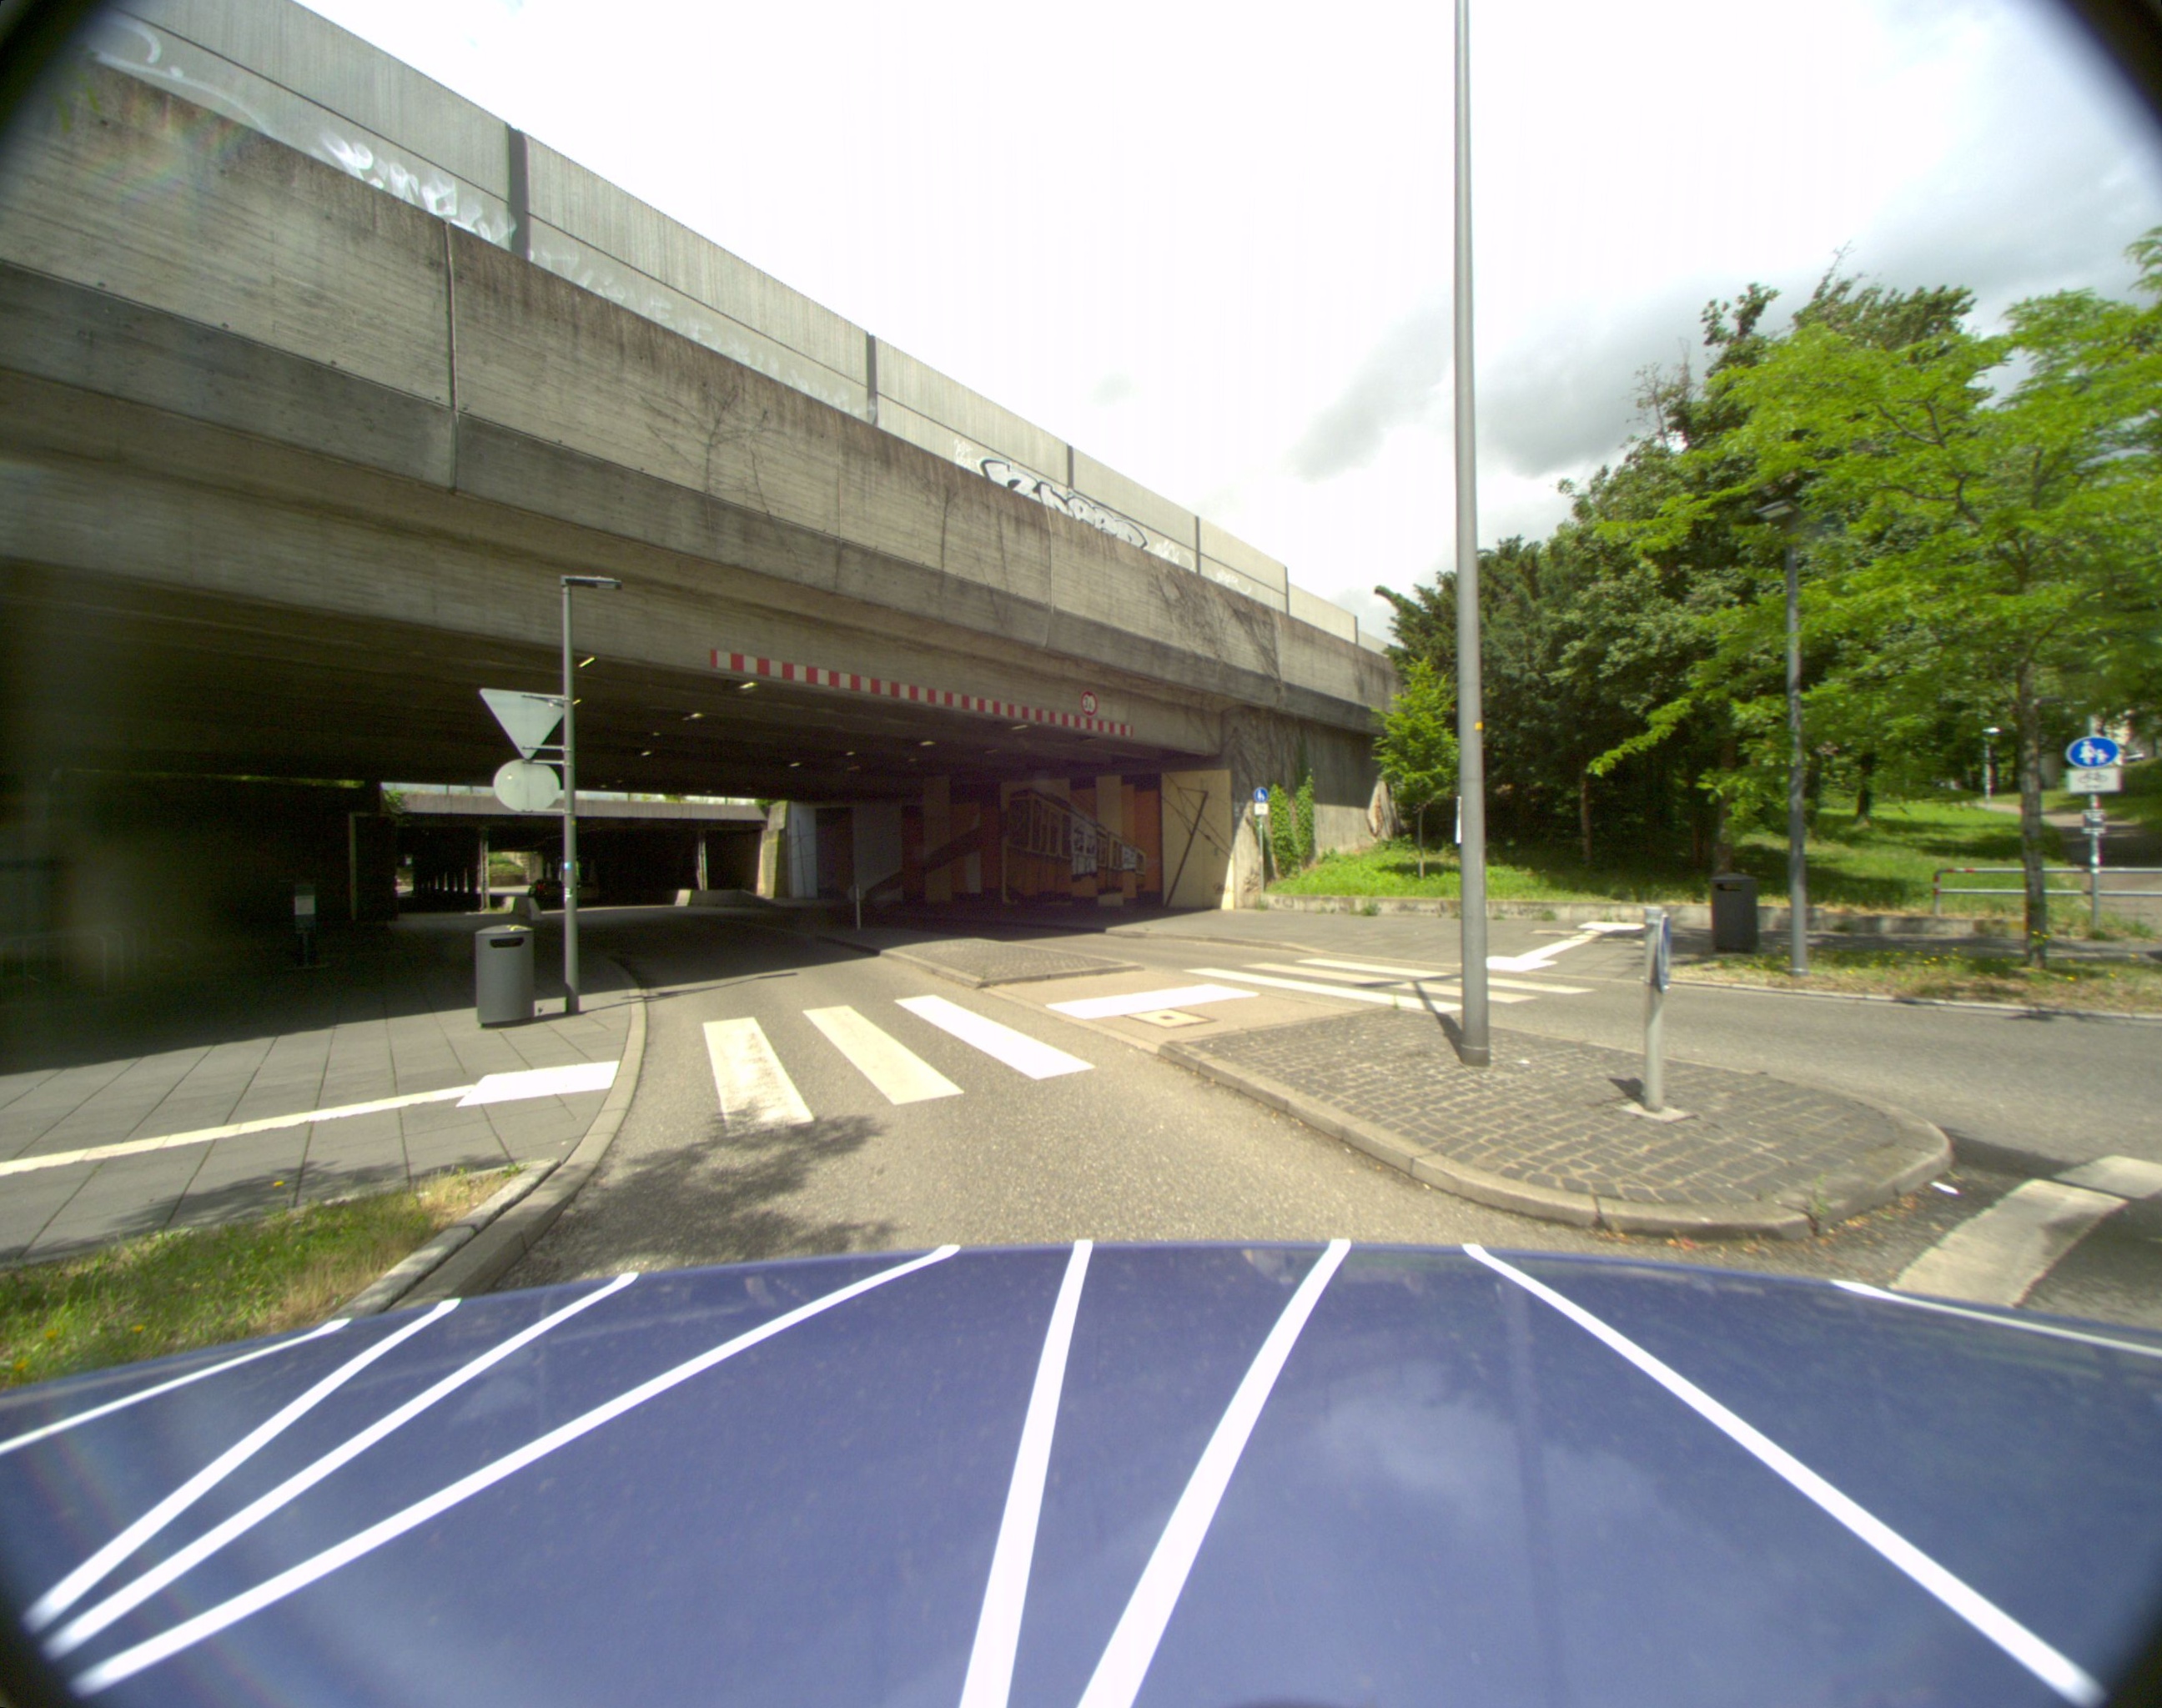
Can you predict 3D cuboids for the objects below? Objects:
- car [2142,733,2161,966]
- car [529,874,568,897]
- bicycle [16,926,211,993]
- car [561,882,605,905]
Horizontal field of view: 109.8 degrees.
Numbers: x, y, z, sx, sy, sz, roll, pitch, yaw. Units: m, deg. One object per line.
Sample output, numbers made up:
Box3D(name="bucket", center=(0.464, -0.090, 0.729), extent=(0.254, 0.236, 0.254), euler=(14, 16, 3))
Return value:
Box3D(name="car", center=(13.866, -0.107, 6.127), extent=(1.978, 2.592, 5.914), euler=(-3, 1, -45))
Box3D(name="car", center=(-40.337, 2.394, 57.520), extent=(1.835, 1.644, 4.202), euler=(0, -2, -44))
Box3D(name="bicycle", center=(-15.958, 1.713, 12.618), extent=(1.956, 0.899, 0.505), euler=(0, -1, -44))
Box3D(name="car", center=(-32.345, 2.542, 49.328), extent=(1.680, 1.438, 3.842), euler=(0, -2, -44))
